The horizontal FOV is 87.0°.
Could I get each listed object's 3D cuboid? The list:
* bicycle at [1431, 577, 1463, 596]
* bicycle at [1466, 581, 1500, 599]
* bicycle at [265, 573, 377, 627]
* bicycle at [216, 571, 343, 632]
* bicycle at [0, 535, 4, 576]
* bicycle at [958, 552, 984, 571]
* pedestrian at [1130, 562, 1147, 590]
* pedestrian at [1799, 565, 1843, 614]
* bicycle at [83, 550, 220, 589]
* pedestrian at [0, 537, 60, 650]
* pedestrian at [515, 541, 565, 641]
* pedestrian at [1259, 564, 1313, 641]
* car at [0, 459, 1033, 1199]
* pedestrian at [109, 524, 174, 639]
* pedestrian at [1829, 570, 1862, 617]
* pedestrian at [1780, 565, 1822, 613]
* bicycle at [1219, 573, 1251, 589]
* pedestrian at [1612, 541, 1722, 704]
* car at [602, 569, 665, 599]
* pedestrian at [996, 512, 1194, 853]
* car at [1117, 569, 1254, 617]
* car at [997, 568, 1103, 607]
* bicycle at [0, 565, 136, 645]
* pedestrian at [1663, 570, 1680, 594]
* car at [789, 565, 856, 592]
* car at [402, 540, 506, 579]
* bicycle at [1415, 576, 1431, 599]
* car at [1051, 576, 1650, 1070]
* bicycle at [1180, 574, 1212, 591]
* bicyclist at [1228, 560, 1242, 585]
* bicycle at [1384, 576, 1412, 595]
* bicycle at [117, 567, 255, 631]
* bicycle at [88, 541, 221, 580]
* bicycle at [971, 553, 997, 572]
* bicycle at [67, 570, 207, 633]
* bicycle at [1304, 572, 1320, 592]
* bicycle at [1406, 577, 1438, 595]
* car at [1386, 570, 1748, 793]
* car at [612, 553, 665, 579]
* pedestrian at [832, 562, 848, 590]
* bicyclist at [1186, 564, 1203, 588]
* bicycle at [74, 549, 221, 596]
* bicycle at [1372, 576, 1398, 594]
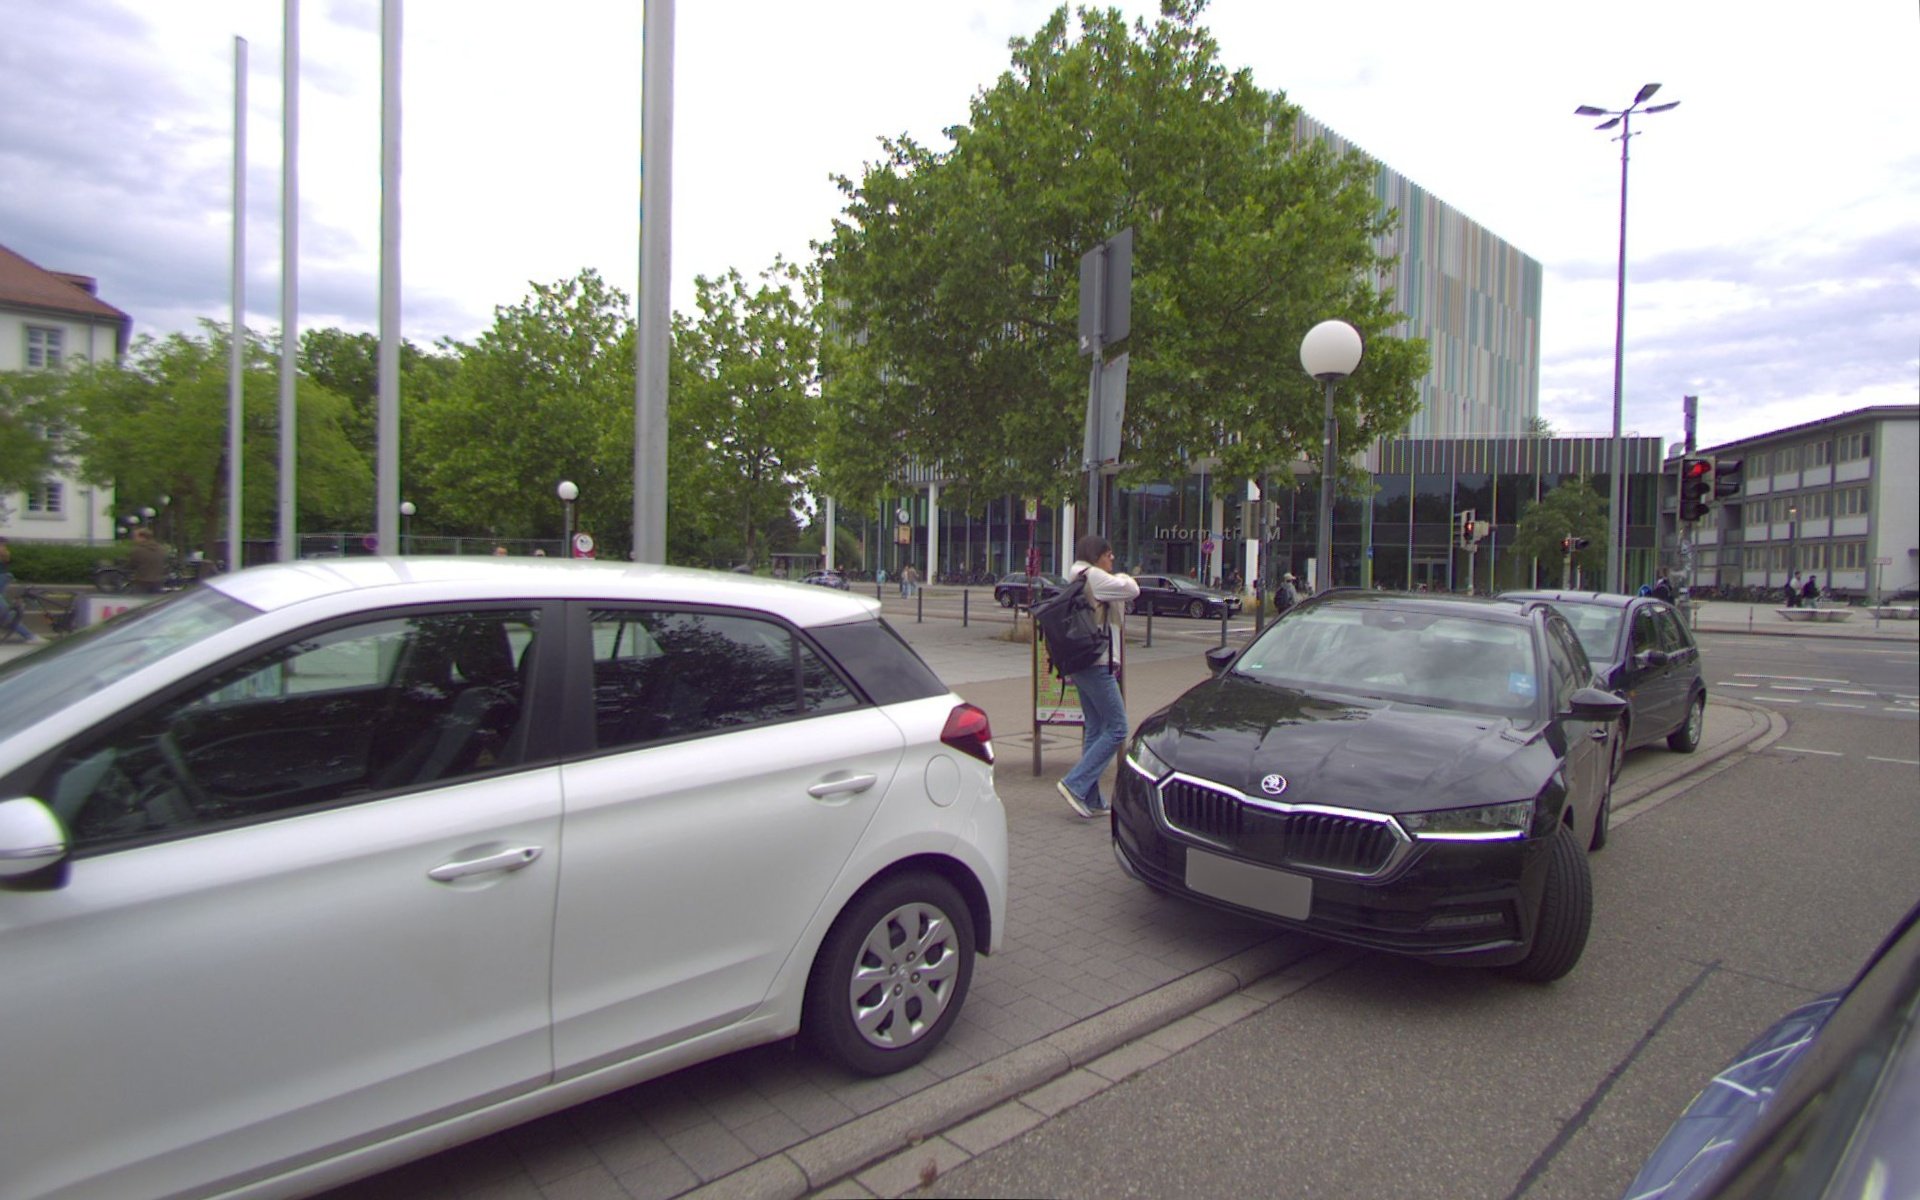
[{"bbox_3d":[26.521,-0.727,55.160,0.474,0.947,2.014,0,3,-10],"label":"bicycle"},{"bbox_3d":[28.585,-0.557,55.330,0.474,0.947,2.014,0,3,-10],"label":"bicycle"},{"bbox_3d":[-13.299,-0.005,21.107,0.456,1.062,1.905,3,2,43],"label":"bicycle"},{"bbox_3d":[-12.668,0.025,18.896,0.456,1.062,1.905,3,2,43],"label":"bicycle"},{"bbox_3d":[-29.279,-1.359,28.700,3.052,1.185,0.747,3,-1,-41],"label":"bicycle"},{"bbox_3d":[0.813,-2.882,75.117,2.069,1.275,0.627,3,-1,-44],"label":"bicycle"},{"bbox_3d":[11.960,-1.615,67.689,0.788,1.810,0.762,-1,3,-41],"label":"pedestrian"},{"bbox_3d":[32.896,-0.419,38.673,0.831,1.810,0.894,1,1,5],"label":"pedestrian"},{"bbox_3d":[-25.481,-0.978,32.027,3.331,1.184,1.055,-1,3,-37],"label":"bicycle"},{"bbox_3d":[-14.846,-0.118,15.840,0.846,1.725,0.957,3,2,33],"label":"pedestrian"},{"bbox_3d":[-7.511,-0.175,18.095,0.666,1.736,0.673,0,2,-36],"label":"pedestrian"},{"bbox_3d":[7.200,0.056,22.372,0.777,1.647,0.759,1,2,-28],"label":"pedestrian"},{"bbox_3d":[-1.789,0.470,2.711,3.793,1.471,1.863,0,2,-42],"label":"car"},{"bbox_3d":[-13.470,-0.315,16.670,0.660,1.856,0.512,1,2,-2],"label":"pedestrian"},{"bbox_3d":[31.905,-0.234,36.482,0.607,1.687,0.624,1,1,4],"label":"pedestrian"},{"bbox_3d":[32.197,-0.445,38.769,0.831,1.810,0.893,1,1,6],"label":"pedestrian"},{"bbox_3d":[16.137,-1.100,59.387,1.877,0.937,0.485,0,2,-25],"label":"bicycle"},{"bbox_3d":[8.871,0.265,12.724,0.742,1.976,0.795,1,1,-16],"label":"pedestrian"},{"bbox_3d":[-17.857,-0.903,55.277,1.964,1.530,3.997,0,2,-39],"label":"car"},{"bbox_3d":[0.773,0.424,5.912,0.805,1.809,0.794,0,2,-30],"label":"pedestrian"},{"bbox_3d":[7.687,-0.297,34.816,1.966,1.507,4.284,-1,2,-42],"label":"car"},{"bbox_3d":[3.535,-0.529,40.127,1.965,1.471,3.996,-2,2,-40],"label":"car"},{"bbox_3d":[-14.049,0.082,15.316,0.455,1.185,2.376,1,-1,43],"label":"bicycle"},{"bbox_3d":[54.281,-1.362,77.184,0.765,1.811,0.758,2,2,14],"label":"pedestrian"},{"bbox_3d":[-8.496,-1.312,62.273,1.966,1.486,4.218,3,0,-44],"label":"car"},{"bbox_3d":[-24.219,-1.908,48.557,1.984,1.774,4.022,2,2,31],"label":"car"},{"bbox_3d":[22.184,-0.619,48.507,0.478,1.058,1.773,1,3,19],"label":"bicycle"},{"bbox_3d":[2.444,0.639,5.414,1.856,1.418,4.420,4,3,36],"label":"car"},{"bbox_3d":[13.871,-1.047,59.508,0.607,0.937,1.918,0,2,-32],"label":"bicycle"},{"bbox_3d":[16.109,-1.622,59.374,0.593,1.487,0.485,0,2,-25],"label":"bicyclist"},{"bbox_3d":[24.141,-0.820,55.787,0.538,0.947,2.012,1,3,-2],"label":"bicycle"},{"bbox_3d":[-13.791,-0.026,18.093,0.454,1.062,1.912,3,2,33],"label":"bicycle"},{"bbox_3d":[-26.135,-1.270,32.944,3.331,1.184,1.055,0,2,-37],"label":"bicycle"},{"bbox_3d":[1.788,-2.749,74.519,2.069,1.275,0.627,3,-1,-44],"label":"bicycle"},{"bbox_3d":[-14.889,0.014,18.367,0.454,1.062,1.912,3,2,34],"label":"bicycle"},{"bbox_3d":[19.735,-1.022,56.813,0.476,1.058,1.912,1,3,9],"label":"bicycle"},{"bbox_3d":[25.200,-0.778,55.228,0.474,0.947,2.014,0,3,-10],"label":"bicycle"},{"bbox_3d":[5.643,0.542,9.205,4.035,1.519,1.625,-1,5,-42],"label":"car"},{"bbox_3d":[-21.660,-2.292,68.133,1.964,1.638,4.190,0,2,-39],"label":"car"},{"bbox_3d":[-7.739,-1.546,65.270,0.794,1.832,0.588,0,2,-38],"label":"pedestrian"},{"bbox_3d":[13.821,-1.405,59.602,0.607,1.399,0.719,0,2,-33],"label":"bicyclist"},{"bbox_3d":[-24.066,-0.793,30.106,3.330,1.185,1.055,3,-1,-37],"label":"bicycle"},{"bbox_3d":[23.416,-0.848,55.830,0.474,0.947,2.012,1,3,-2],"label":"bicycle"}]
